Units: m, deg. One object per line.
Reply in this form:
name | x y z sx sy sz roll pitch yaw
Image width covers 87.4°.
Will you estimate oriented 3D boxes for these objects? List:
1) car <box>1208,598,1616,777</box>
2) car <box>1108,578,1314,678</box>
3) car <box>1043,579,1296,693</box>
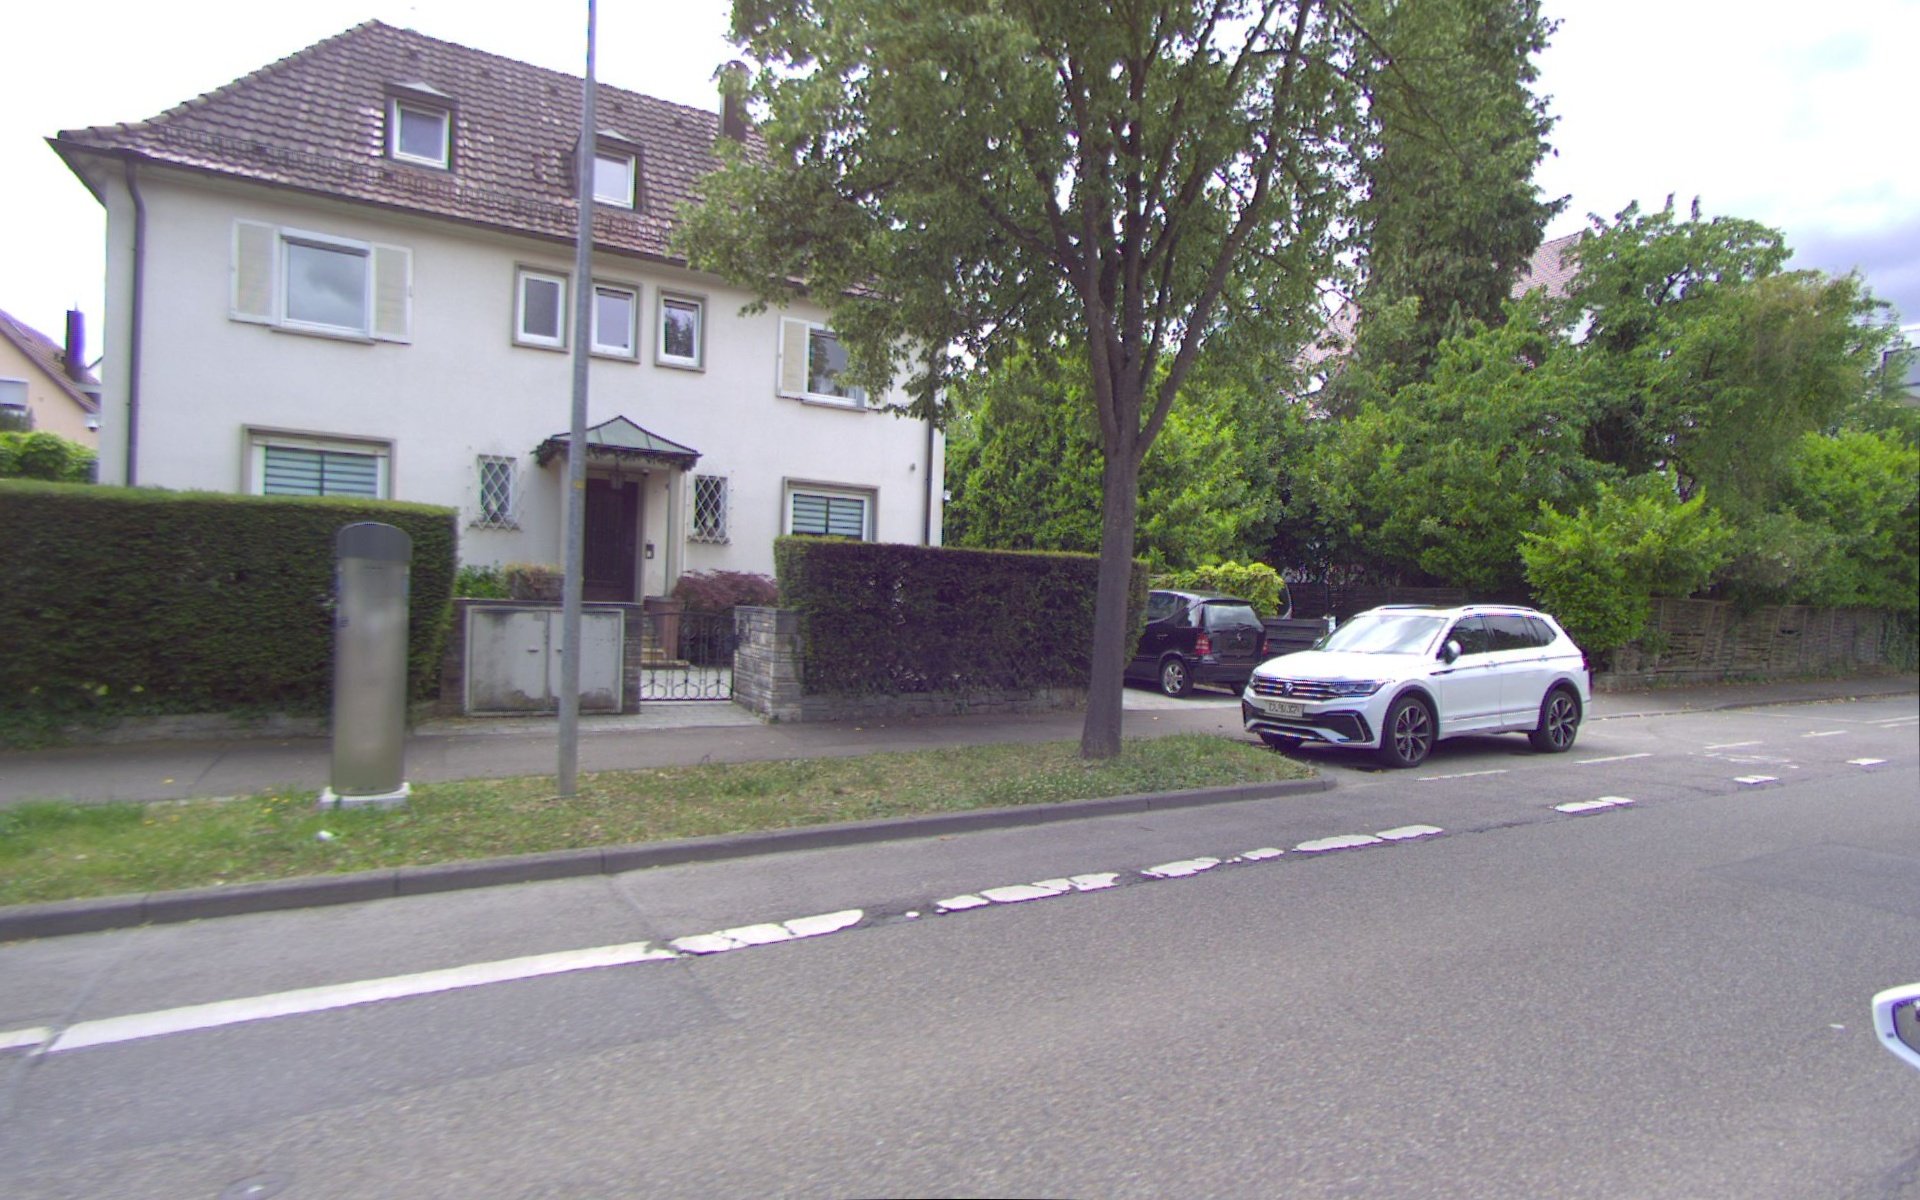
car | 5.306 0.884 11.605 4.809 1.711 1.865 1 -1 -30
car | 5.407 0.577 22.242 1.877 1.962 4.437 1 -1 -30
car | 3.261 0.530 16.449 1.744 1.606 4.178 1 -1 -29
